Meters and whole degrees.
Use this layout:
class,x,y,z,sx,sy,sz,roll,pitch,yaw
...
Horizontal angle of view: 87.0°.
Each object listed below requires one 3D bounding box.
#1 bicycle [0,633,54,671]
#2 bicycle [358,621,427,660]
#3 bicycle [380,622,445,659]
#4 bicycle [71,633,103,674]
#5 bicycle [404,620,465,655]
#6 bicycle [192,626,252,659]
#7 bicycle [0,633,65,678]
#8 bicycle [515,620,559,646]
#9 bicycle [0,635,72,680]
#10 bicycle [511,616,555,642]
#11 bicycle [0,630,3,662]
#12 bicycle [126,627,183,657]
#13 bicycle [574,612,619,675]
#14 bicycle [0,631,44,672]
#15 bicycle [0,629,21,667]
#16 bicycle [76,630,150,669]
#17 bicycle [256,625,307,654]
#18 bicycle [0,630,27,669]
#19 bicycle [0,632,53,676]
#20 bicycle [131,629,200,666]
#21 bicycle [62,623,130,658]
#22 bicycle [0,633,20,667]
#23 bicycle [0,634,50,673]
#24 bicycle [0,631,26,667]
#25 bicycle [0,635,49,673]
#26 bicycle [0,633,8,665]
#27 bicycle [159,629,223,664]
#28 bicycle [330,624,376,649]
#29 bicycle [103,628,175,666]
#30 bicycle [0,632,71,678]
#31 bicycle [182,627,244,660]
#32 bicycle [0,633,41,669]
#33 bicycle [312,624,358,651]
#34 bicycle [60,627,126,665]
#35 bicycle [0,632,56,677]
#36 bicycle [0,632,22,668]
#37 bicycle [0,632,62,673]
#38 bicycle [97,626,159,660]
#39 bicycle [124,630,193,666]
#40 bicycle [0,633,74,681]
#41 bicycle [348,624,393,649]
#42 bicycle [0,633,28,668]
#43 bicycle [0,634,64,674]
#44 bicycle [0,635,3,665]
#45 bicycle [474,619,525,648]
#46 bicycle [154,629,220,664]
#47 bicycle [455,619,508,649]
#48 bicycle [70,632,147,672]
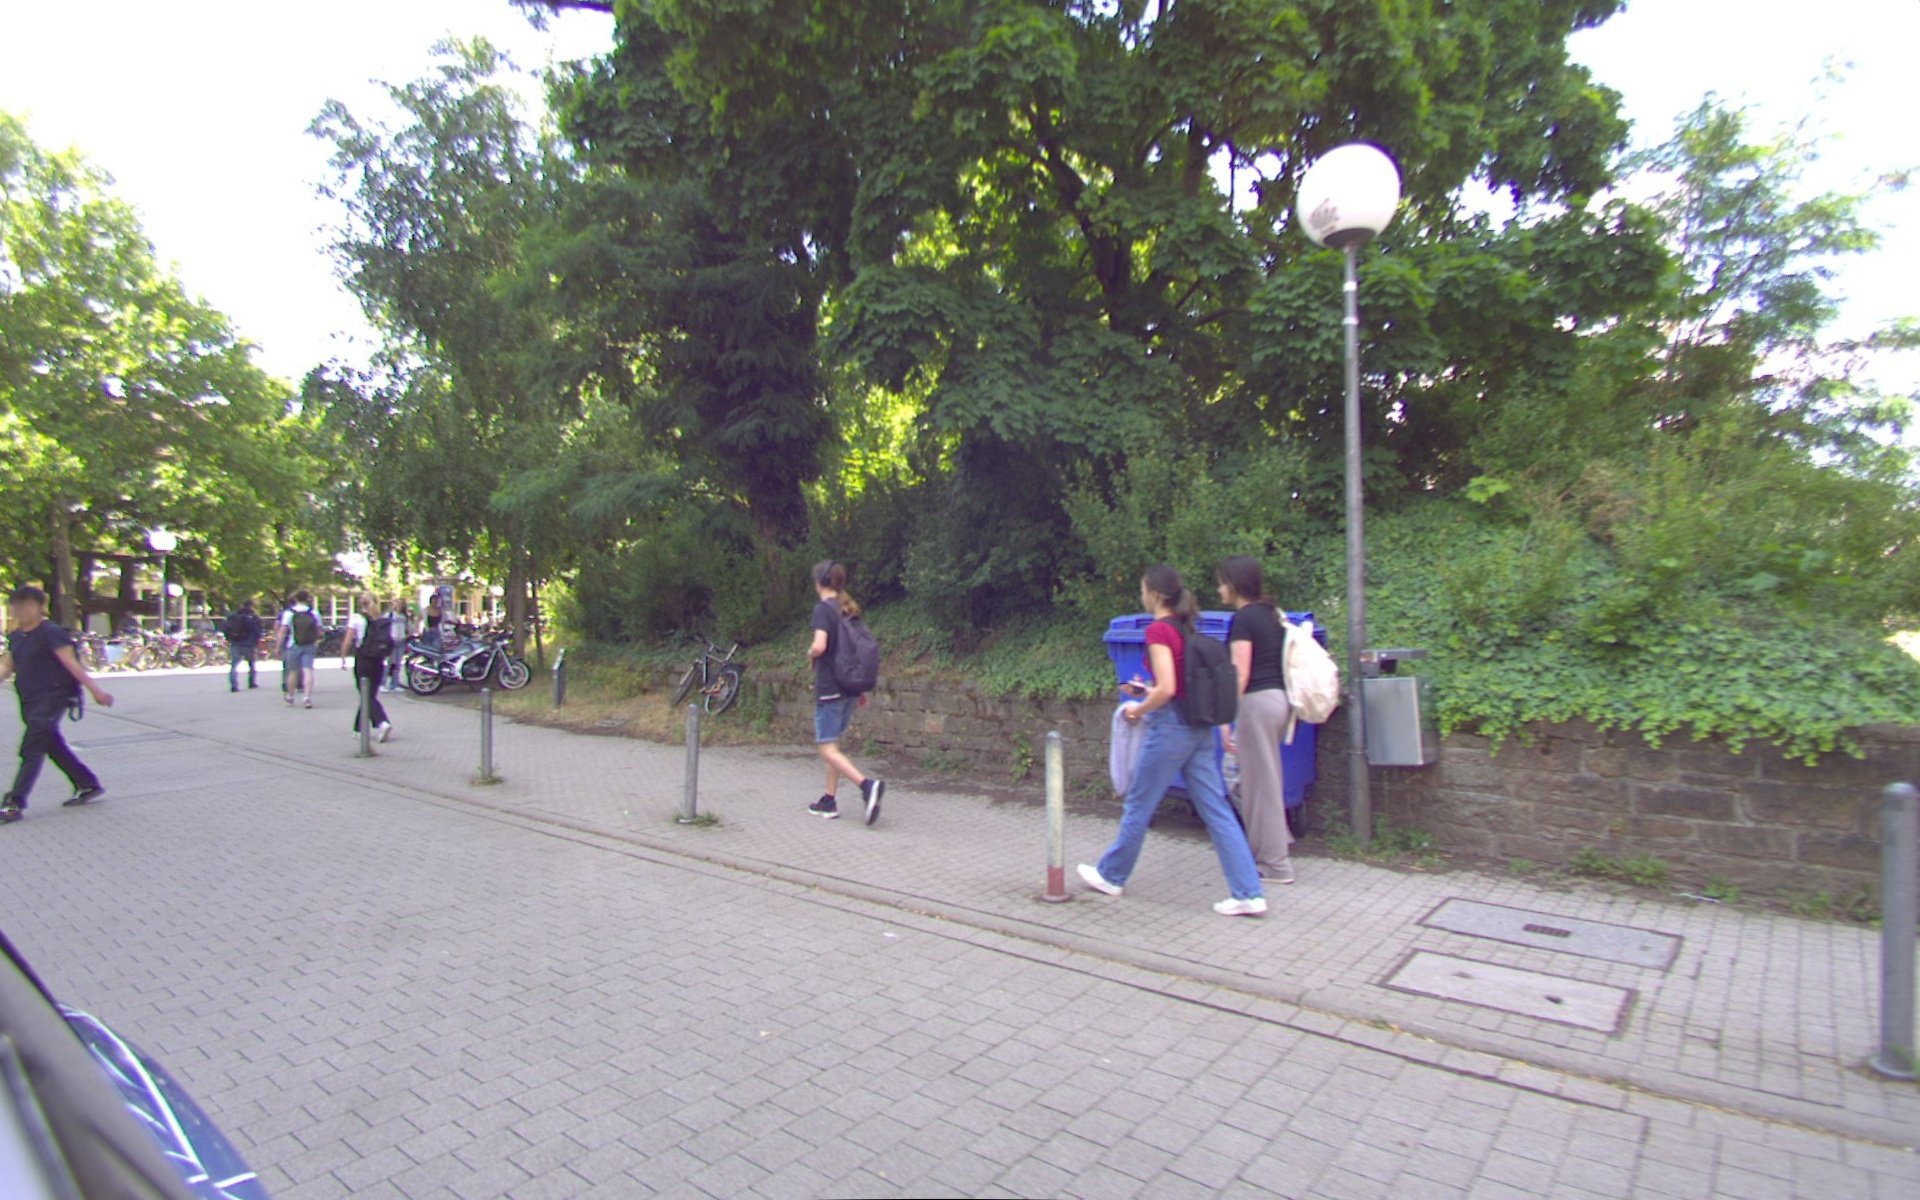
class,x,y,z,sx,sy,sz,roll,pitch,yaw
bicycle,-29.867,1.650,32.014,0.563,1.116,1.683,-1,0,28
bicycle,-17.212,1.227,30.717,1.750,1.118,0.475,-1,0,-7
bicycle,-17.207,1.263,31.825,1.750,1.118,0.475,-1,0,-7
bicycle,-24.460,1.491,28.352,1.699,1.092,0.501,-1,0,43
bicycle,-17.742,1.264,34.167,1.748,1.118,0.475,-1,0,-12
bicycle,-26.370,1.510,36.196,1.671,1.092,0.475,-1,0,-15
bicycle,-25.964,1.527,27.987,1.752,1.177,0.475,-1,0,-38
bicycle,-19.306,1.494,46.206,1.749,1.118,0.518,-1,0,-8
bicycle,-24.771,1.523,26.900,0.473,1.099,1.680,-1,0,33
bicycle,-19.176,1.313,45.446,1.749,1.118,0.518,-1,0,-8
bicycle,-36.245,1.713,37.105,1.603,1.152,0.498,-1,0,-37
bicycle,-31.321,1.626,39.373,1.671,1.116,0.504,-1,0,-14
bicycle,-6.642,0.768,18.443,0.466,1.055,1.705,-3,1,-29
bicycle,-29.625,1.603,31.438,0.472,1.196,1.683,-1,0,28
bicycle,-32.603,1.634,33.821,0.495,1.245,1.722,-1,0,32
bicycle,-25.521,1.482,30.511,1.672,1.092,0.475,-1,0,-37
bicycle,-26.628,1.553,39.729,1.677,1.092,0.474,-1,0,2
bicycle,-30.837,1.595,32.139,0.535,1.207,1.682,-1,0,31
bicycle,-26.943,1.528,28.768,0.471,1.177,1.687,-1,0,22
bicycle,-25.496,1.516,32.496,1.670,1.092,0.475,-1,0,-19
bicycle,-29.373,1.366,34.414,0.500,1.116,1.683,-1,0,28
bicycle,-32.277,1.675,33.462,0.495,1.116,1.683,-1,0,29
bicycle,-28.654,1.617,30.637,0.469,1.116,1.693,-1,0,12
bicycle,-32.909,1.683,34.330,0.496,1.187,1.718,-1,0,39
bicycle,-29.213,1.659,31.106,0.580,1.116,1.683,-1,0,28
bicycle,-35.139,1.780,36.045,0.496,1.116,1.718,-1,0,39
bicycle,-25.811,1.544,33.985,1.671,1.092,0.475,-1,0,-15
bicycle,-27.306,1.650,45.521,1.834,1.092,0.474,-1,0,2
bicycle,-25.554,1.452,31.520,1.671,1.092,0.475,-1,0,-15
bicycle,-25.297,1.481,27.460,0.473,1.177,1.680,-1,0,33
bicycle,-25.948,1.509,35.161,1.671,1.092,0.475,-1,0,-15
bicycle,-31.015,1.666,32.865,0.472,1.116,1.683,-1,0,28
bicycle,-26.670,1.606,43.188,1.677,1.092,0.474,-1,0,2
bicycle,-30.116,1.581,35.170,0.500,1.229,1.683,-1,0,28
bicycle,-26.544,1.529,28.399,0.472,1.177,1.684,-1,0,27
bicycle,-31.885,1.652,33.112,0.472,1.154,1.684,-1,0,27
bicycle,-28.205,1.567,30.537,0.469,1.166,1.693,-1,0,12
bicycle,-31.079,1.602,37.818,1.671,1.209,0.577,-1,0,-14
bicycle,-25.997,1.535,32.848,1.670,1.092,0.475,-1,0,-19
bicycle,-24.427,1.489,26.581,0.472,1.168,1.682,-1,0,31
bicycle,-27.261,1.701,46.788,1.834,1.092,0.474,-1,0,2
bicycle,-31.471,1.655,32.897,0.472,1.116,1.684,-1,0,27
bicycle,-27.328,1.562,29.708,0.468,1.070,1.697,-1,0,4
bicycle,-35.829,1.844,36.578,1.711,1.116,0.576,-1,0,-32
bicycle,-18.358,1.324,40.362,1.749,1.118,0.518,-1,0,-8
bicycle,-25.600,1.523,33.546,1.671,1.092,0.475,-1,0,-15
bicycle,-18.476,1.312,39.109,1.749,1.118,0.518,-1,0,-8
bicycle,-24.879,1.513,29.602,1.672,1.092,0.475,-1,0,-38
